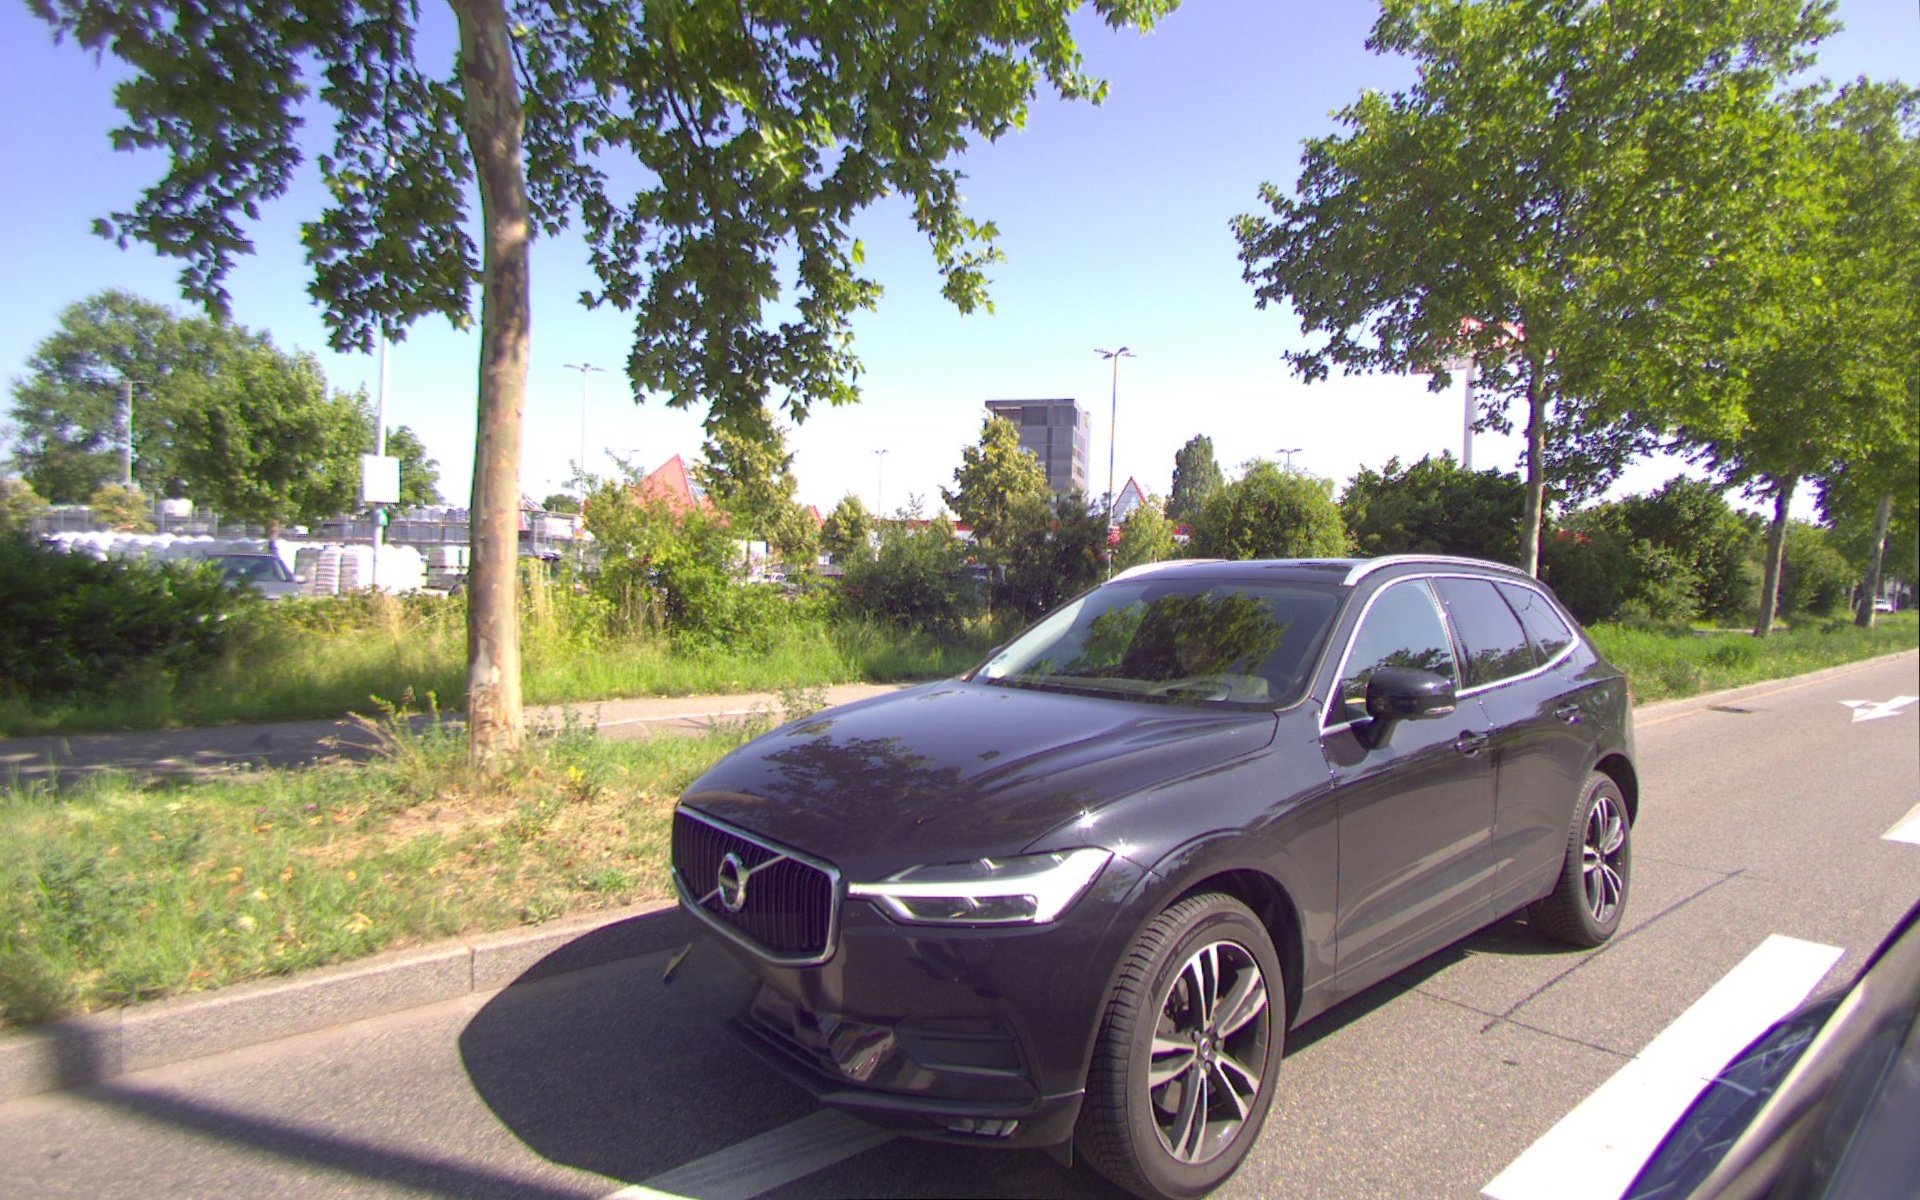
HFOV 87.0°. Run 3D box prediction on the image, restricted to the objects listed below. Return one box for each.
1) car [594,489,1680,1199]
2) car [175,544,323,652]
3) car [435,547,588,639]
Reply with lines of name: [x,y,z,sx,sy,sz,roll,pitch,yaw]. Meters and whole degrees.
car: [1.112,0.586,4.055,4.485,1.642,1.922,-1,1,-41]
car: [-12.631,-0.069,17.905,1.690,1.717,3.551,0,1,-43]
car: [-9.211,-0.168,20.683,3.548,1.717,1.692,1,1,44]
